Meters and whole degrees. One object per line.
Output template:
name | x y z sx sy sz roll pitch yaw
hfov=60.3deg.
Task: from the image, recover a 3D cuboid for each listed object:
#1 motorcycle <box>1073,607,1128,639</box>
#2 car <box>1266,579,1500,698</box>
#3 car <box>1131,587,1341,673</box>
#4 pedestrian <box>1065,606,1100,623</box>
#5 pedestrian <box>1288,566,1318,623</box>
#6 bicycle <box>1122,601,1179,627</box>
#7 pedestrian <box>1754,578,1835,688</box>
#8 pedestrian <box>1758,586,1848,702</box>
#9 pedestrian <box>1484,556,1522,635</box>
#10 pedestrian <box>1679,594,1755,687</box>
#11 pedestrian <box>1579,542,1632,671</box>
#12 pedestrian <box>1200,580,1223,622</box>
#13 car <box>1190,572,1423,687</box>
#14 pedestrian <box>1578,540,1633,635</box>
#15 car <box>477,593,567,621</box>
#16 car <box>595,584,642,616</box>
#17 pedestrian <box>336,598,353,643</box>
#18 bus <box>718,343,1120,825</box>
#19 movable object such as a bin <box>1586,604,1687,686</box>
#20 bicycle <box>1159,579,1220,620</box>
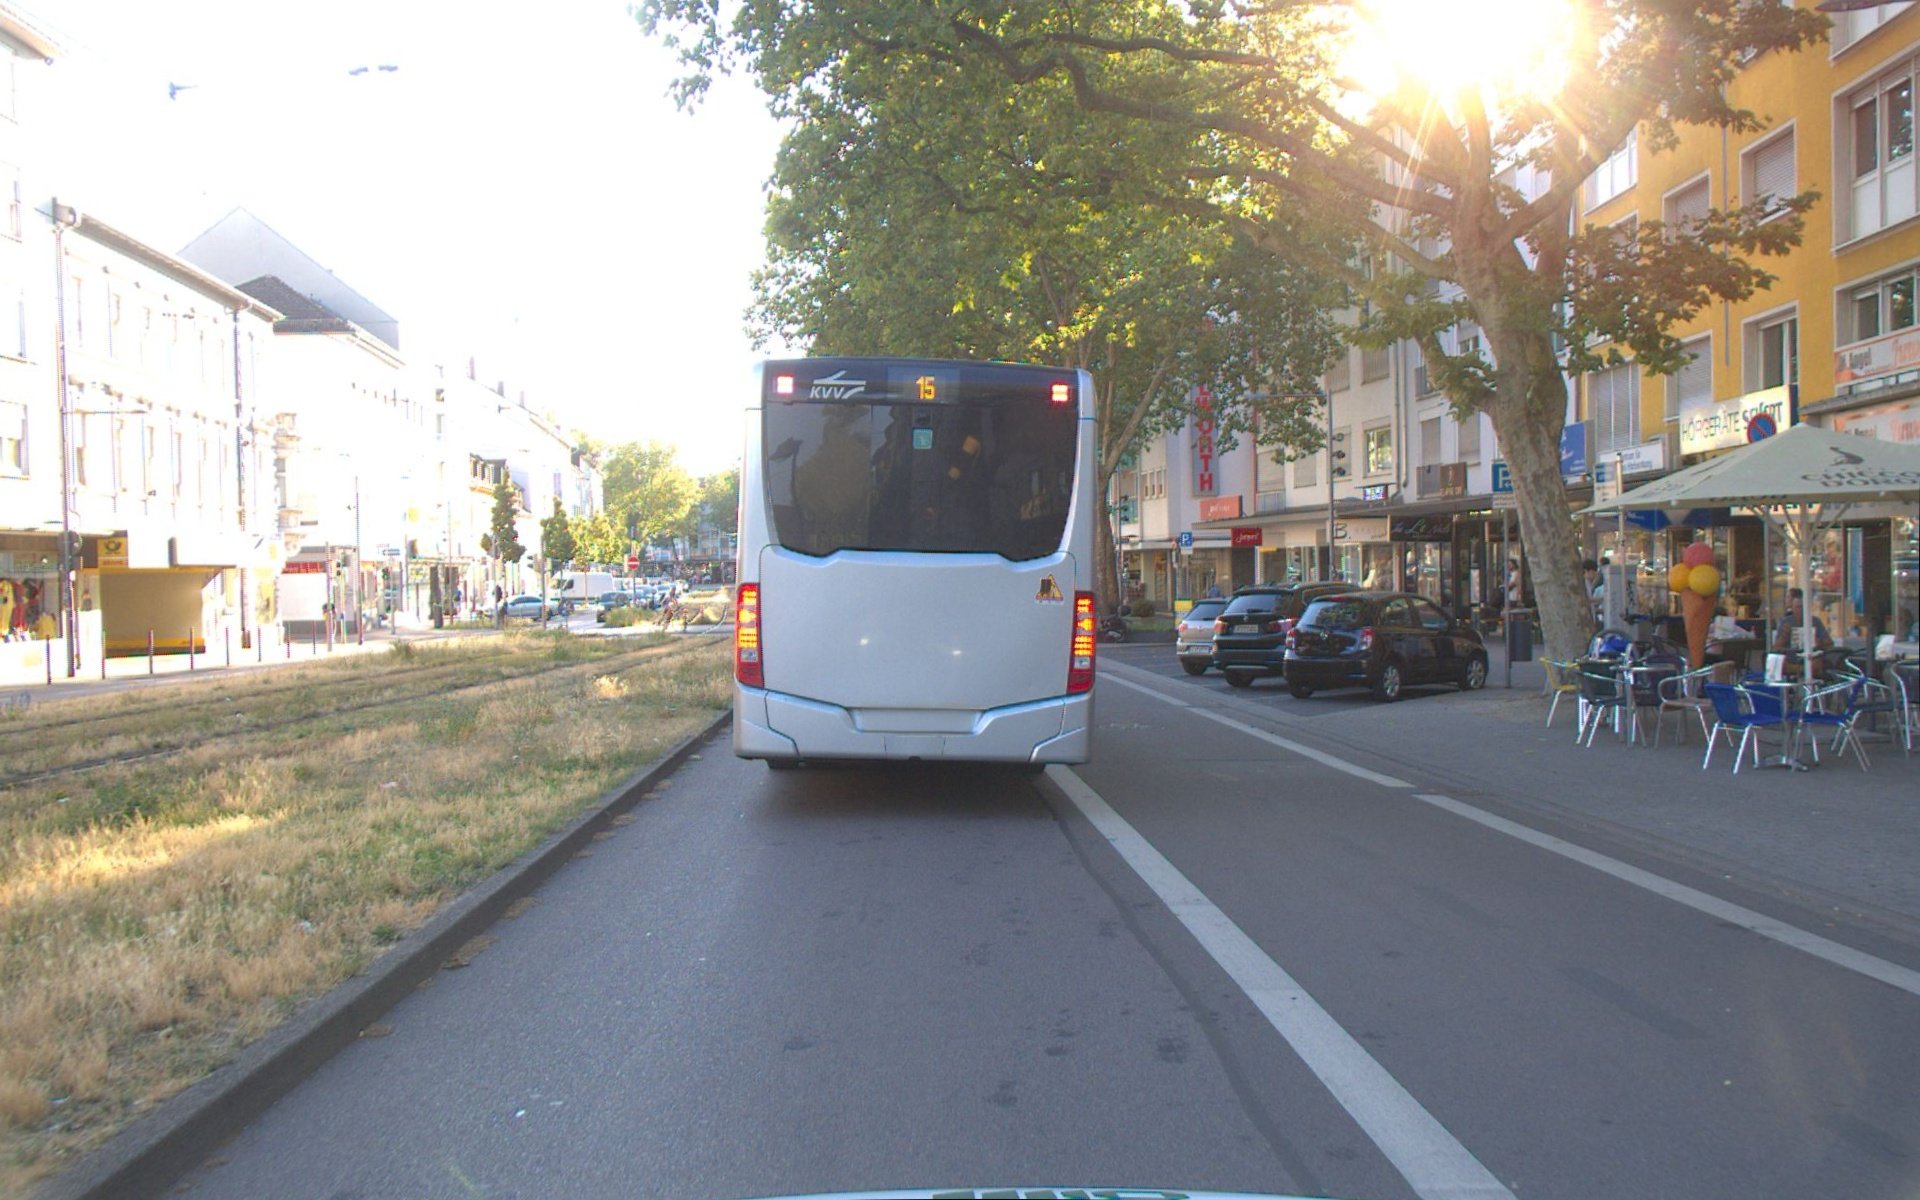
motorcycle | 4.188 0.680 49.395 1.540 0.908 0.544 -2 0 -6
car | 6.313 0.521 24.492 3.580 1.567 1.714 -2 1 -44
car | 5.401 0.541 32.106 4.140 1.477 1.783 -2 1 -41
pedestrian | 4.462 0.538 60.362 1.229 0.599 0.482 -1 0 -5
pedestrian | 11.116 -0.172 53.636 0.764 1.825 0.764 -1 0 -3
bicycle | 6.195 0.450 53.823 1.836 0.778 0.712 -1 3 6
pedestrian | 10.060 0.383 19.951 0.571 1.297 0.758 0 0 -2
pedestrian | 9.318 0.469 18.304 0.593 1.246 0.745 -1 0 -2
pedestrian | 13.218 -0.114 40.272 0.629 1.909 0.825 -1 0 3
pedestrian | 9.449 0.497 20.663 0.571 1.135 0.750 0 0 -2
pedestrian | 9.452 0.093 24.211 0.509 1.864 0.471 -1 0 -24
pedestrian | 10.683 0.046 70.274 0.734 1.708 0.833 -1 2 -9
car | 5.845 0.442 27.627 4.119 1.710 1.781 -2 1 -44
pedestrian | 12.932 -0.247 33.156 0.692 1.822 0.788 -4 0 3
car | -24.487 0.405 92.527 4.508 1.437 1.972 -2 1 -39
car | -17.658 -0.016 85.644 1.688 1.535 3.475 -4 1 -2
pedestrian | -24.015 0.800 64.490 0.417 1.743 0.508 -1 0 1
bus | -0.358 -0.159 14.367 2.624 3.137 7.112 0 1 -2
movable object such as a bin | 8.942 0.584 21.871 0.914 1.041 0.834 0 0 -24
bicycle | 7.302 -0.011 52.692 1.836 1.210 0.712 -3 0 6
